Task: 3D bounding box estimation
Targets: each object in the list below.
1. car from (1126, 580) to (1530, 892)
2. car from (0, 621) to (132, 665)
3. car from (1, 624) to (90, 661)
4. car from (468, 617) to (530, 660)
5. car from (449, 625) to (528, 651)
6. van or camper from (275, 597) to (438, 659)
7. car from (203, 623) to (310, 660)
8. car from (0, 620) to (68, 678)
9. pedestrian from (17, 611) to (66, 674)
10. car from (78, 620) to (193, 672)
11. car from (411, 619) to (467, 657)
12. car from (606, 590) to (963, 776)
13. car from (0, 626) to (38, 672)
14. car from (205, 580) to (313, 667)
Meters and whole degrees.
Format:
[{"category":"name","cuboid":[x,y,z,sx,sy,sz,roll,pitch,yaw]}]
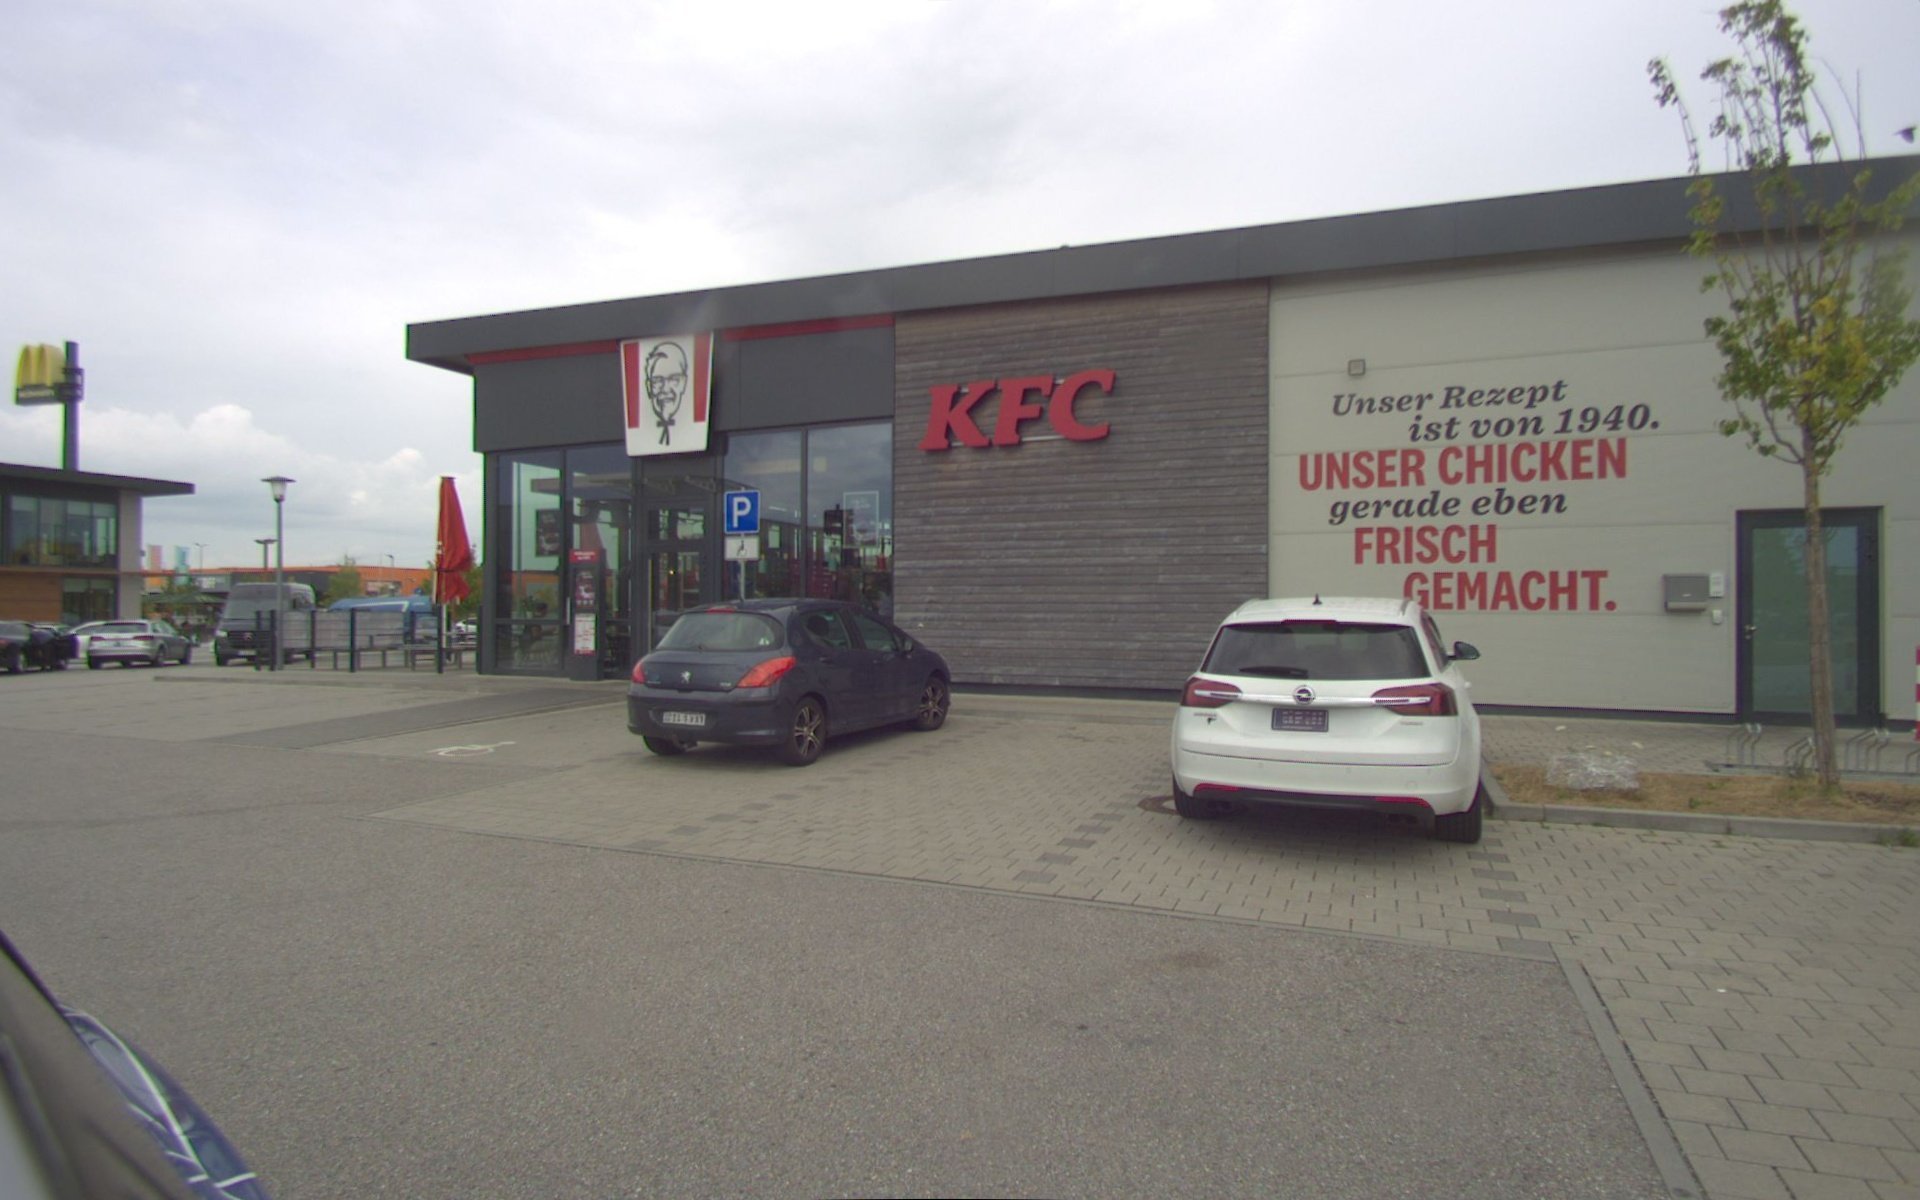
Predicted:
[{"category":"car","cuboid":[2.670,0.681,7.179,1.988,1.497,4.145,0,-1,24]},{"category":"car","cuboid":[-32.562,1.554,36.357,4.040,1.478,1.786,0,-3,-27]},{"category":"car","cuboid":[-41.921,1.919,46.508,1.759,1.498,4.013,2,0,-23]},{"category":"car","cuboid":[-19.836,1.629,43.431,1.966,1.741,4.911,1,-2,-30]},{"category":"car","cuboid":[-31.247,2.505,67.094,4.914,1.614,2.057,0,-1,24]},{"category":"van or camper","cuboid":[-29.069,1.328,49.031,6.460,2.721,2.179,-1,-2,-19]},{"category":"car","cuboid":[-29.984,1.754,43.261,3.512,1.465,1.848,0,-2,-25]},{"category":"car","cuboid":[-25.995,1.314,27.294,1.658,1.474,4.421,-1,-2,-24]},{"category":"pedestrian","cuboid":[-25.209,1.160,27.788,0.736,1.690,0.845,1,-2,-26]},{"category":"car","cuboid":[-25.136,1.376,31.002,1.658,1.462,4.013,0,-2,-23]},{"category":"car","cuboid":[-21.035,1.499,40.794,1.801,1.422,4.012,-1,-1,-30]},{"category":"car","cuboid":[-1.557,0.680,10.448,1.748,1.498,3.908,-1,0,24]},{"category":"car","cuboid":[-33.279,1.591,33.314,3.930,1.521,1.775,1,-3,-22]},{"category":"car","cuboid":[-23.077,0.803,33.569,2.037,2.573,7.035,0,-2,-27]}]
